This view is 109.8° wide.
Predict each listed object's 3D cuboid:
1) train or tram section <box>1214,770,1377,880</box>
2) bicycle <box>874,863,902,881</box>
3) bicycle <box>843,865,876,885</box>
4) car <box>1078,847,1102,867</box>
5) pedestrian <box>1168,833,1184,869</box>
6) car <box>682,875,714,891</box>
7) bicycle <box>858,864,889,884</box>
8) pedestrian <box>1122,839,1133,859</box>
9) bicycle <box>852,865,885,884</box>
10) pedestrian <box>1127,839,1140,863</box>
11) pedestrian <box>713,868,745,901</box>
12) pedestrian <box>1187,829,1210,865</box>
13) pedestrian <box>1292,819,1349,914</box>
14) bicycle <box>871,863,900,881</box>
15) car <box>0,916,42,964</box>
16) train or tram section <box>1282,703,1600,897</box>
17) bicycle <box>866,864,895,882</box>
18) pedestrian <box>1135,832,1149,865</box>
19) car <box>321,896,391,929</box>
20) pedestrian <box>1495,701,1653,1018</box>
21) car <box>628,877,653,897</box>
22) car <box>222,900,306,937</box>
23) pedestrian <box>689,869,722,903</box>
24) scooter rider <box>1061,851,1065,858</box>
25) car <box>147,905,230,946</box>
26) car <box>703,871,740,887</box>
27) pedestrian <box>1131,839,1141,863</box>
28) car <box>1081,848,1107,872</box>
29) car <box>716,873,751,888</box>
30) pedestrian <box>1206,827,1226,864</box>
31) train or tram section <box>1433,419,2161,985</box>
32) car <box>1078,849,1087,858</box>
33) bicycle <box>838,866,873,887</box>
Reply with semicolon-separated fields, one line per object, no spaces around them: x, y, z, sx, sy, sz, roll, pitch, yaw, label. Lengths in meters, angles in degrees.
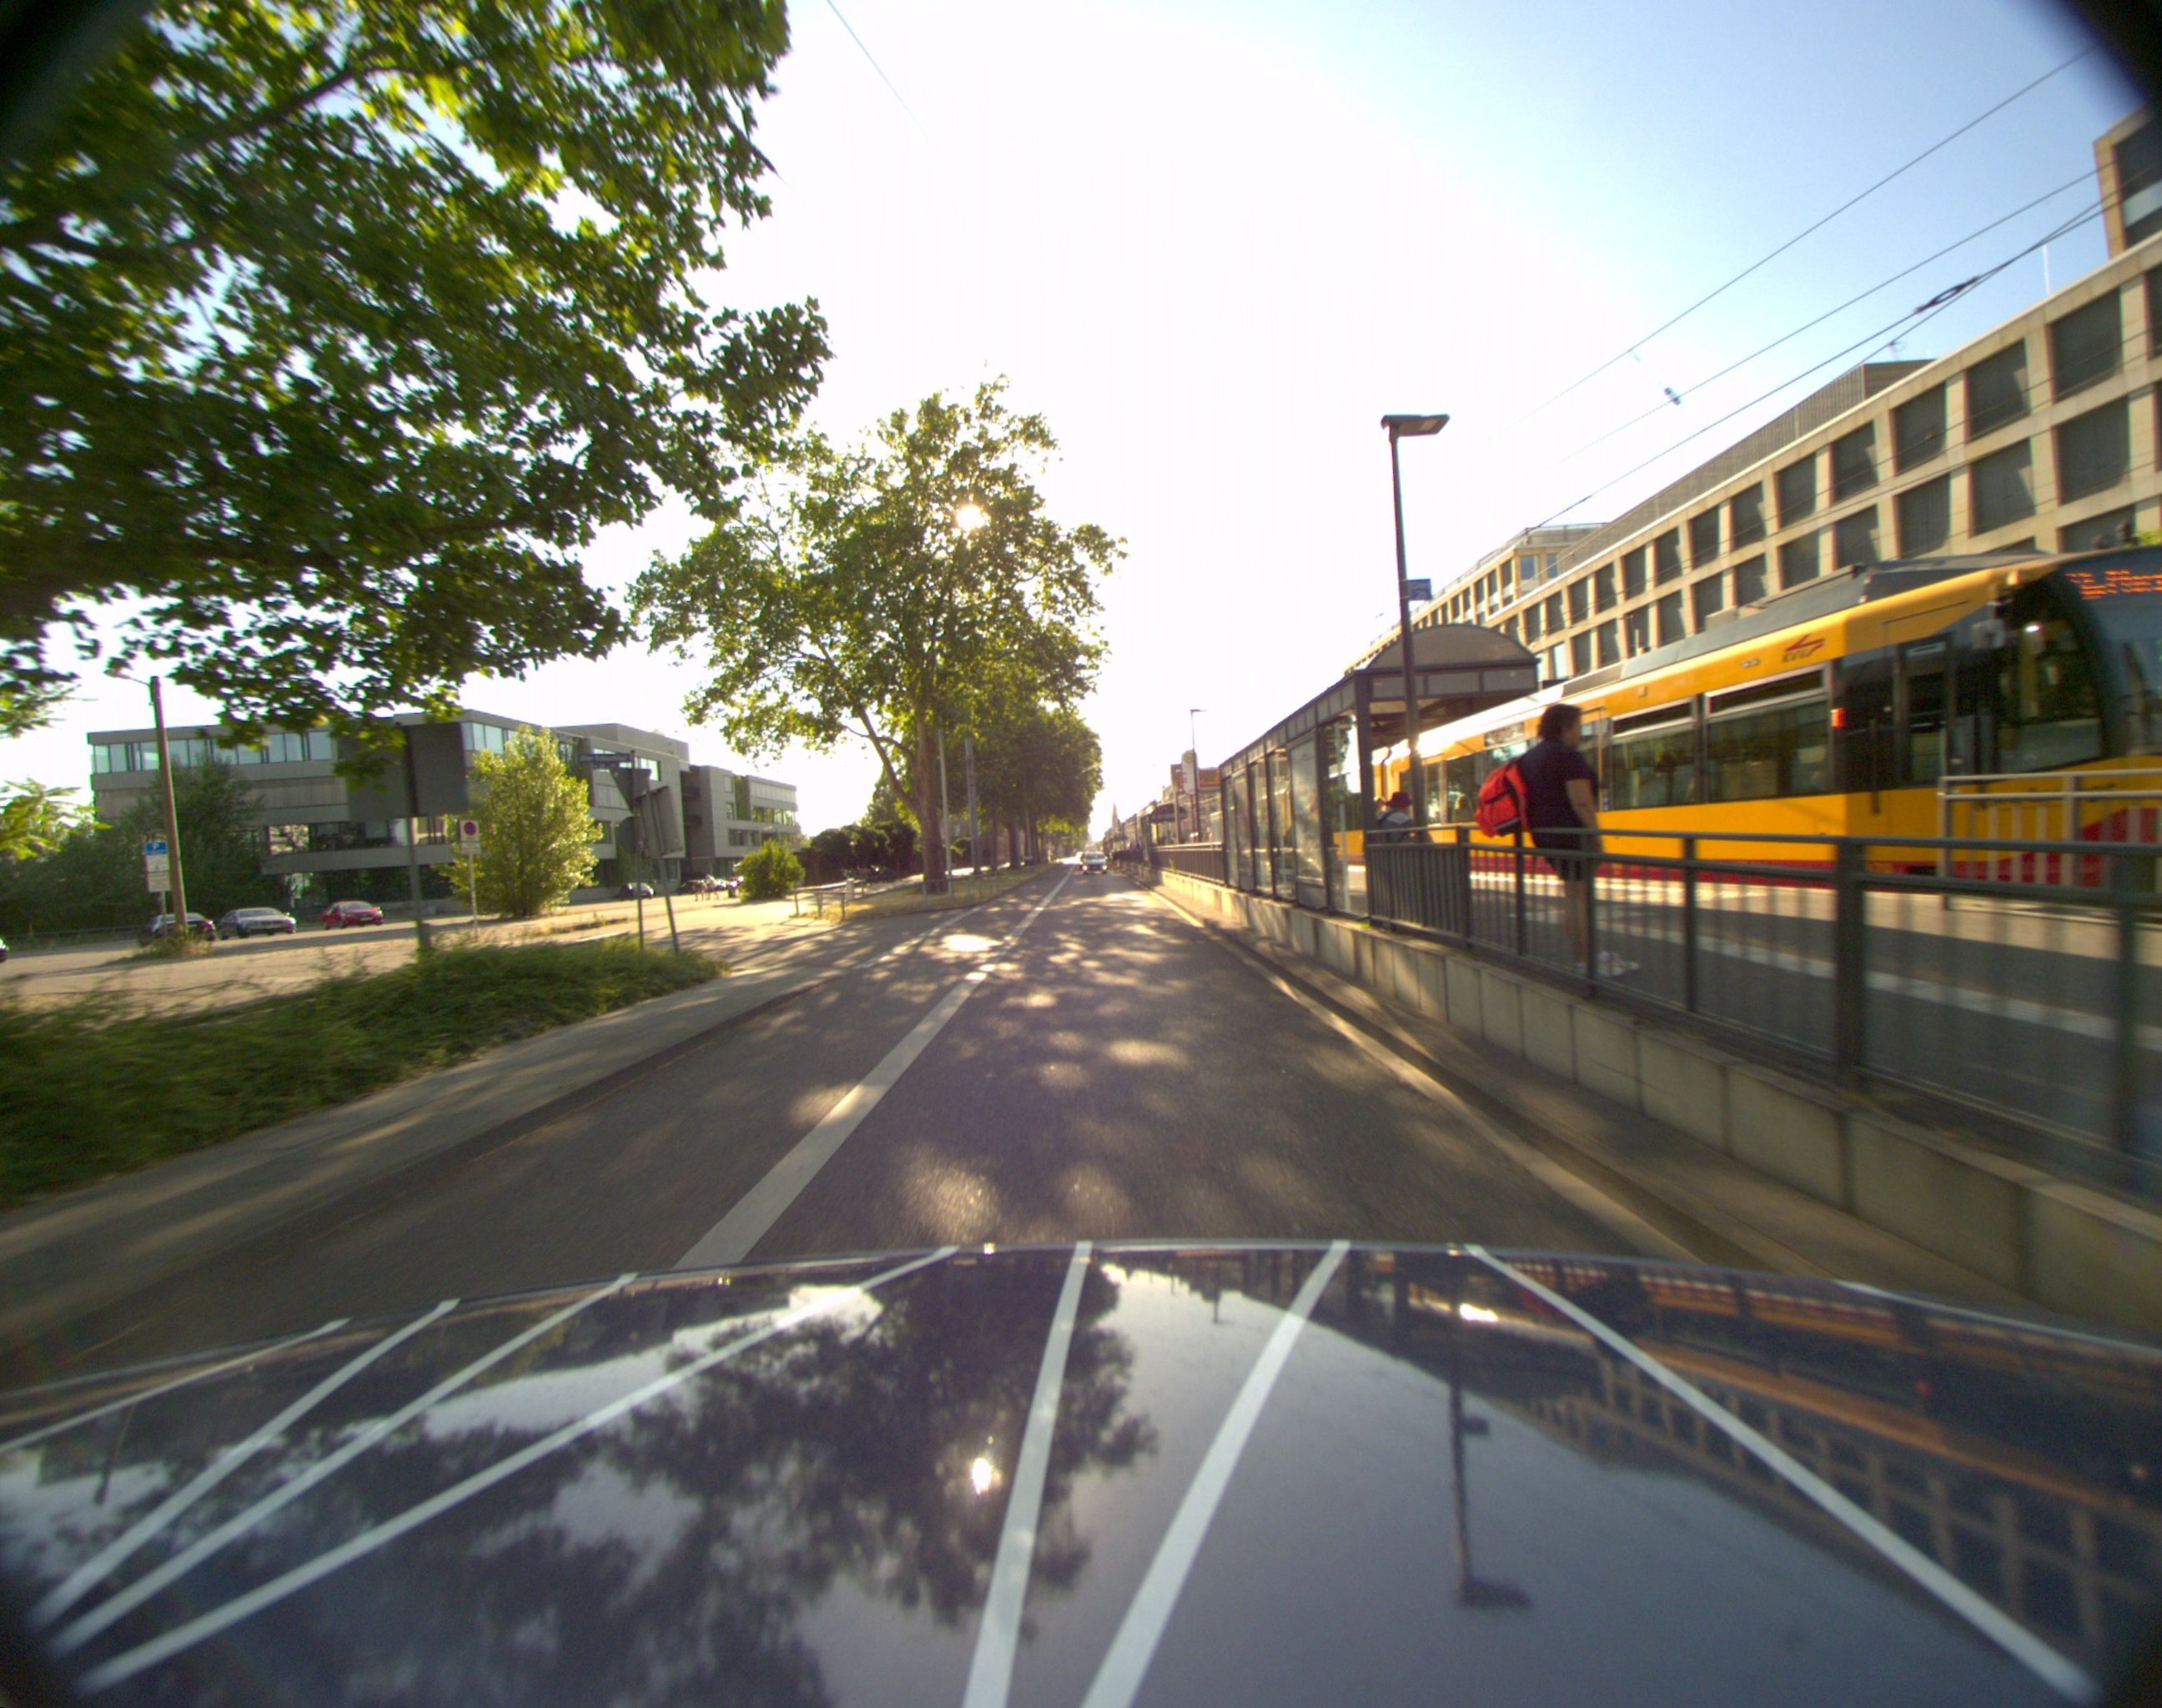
9.092;-1.139;34.936;3.317;3.807;14.217;-4;1;0;train or tram section
-13.078;1.219;51.548;1.692;1.114;0.439;-2;1;0;bicycle
-13.187;1.268;45.326;1.777;1.114;0.439;-2;1;0;bicycle
0.799;0.268;66.767;1.648;1.555;3.667;-5;1;6;car
4.787;-0.142;38.448;0.611;1.774;0.681;-4;1;1;pedestrian
-41.161;3.158;81.586;3.656;1.512;1.653;-3;1;39;car
-12.935;1.251;47.457;1.777;1.114;0.439;-2;1;0;bicycle
3.672;-0.383;59.936;0.615;1.540;0.725;-4;1;11;pedestrian
-12.952;1.254;46.325;1.777;1.114;0.439;-2;1;0;bicycle
3.676;-0.206;53.124;0.614;1.633;0.612;-4;1;-19;pedestrian
-23.081;1.961;49.777;1.394;2.002;1.049;-4;1;13;pedestrian
5.930;-0.345;38.280;0.796;1.774;0.647;-5;1;-39;pedestrian
3.430;0.174;10.915;0.568;1.285;0.500;-4;1;0;pedestrian
-12.991;1.225;50.540;1.777;1.114;0.439;-2;1;0;bicycle
-40.634;3.241;27.253;4.361;1.602;1.860;-4;1;5;car
9.044;-1.168;21.707;3.317;3.807;11.842;-4;1;0;train or tram section
-13.081;1.227;49.591;1.777;1.114;0.439;-2;1;0;bicycle
3.333;-0.305;41.683;0.613;1.774;0.613;-4;1;1;pedestrian
-41.336;3.324;43.305;4.355;1.602;1.886;-3;1;34;car
2.878;0.031;4.488;0.413;1.707;0.665;-4;1;0;pedestrian
-40.650;3.017;70.117;1.652;1.655;3.657;-4;1;-34;car
-41.256;3.262;38.353;4.355;1.580;2.003;-3;1;32;car
-24.172;2.060;48.949;1.394;2.002;1.049;-4;1;13;pedestrian
-3.841;0.067;160.637;0.703;1.389;0.599;-4;1;0;scooter rider
-41.341;3.277;35.169;4.355;1.602;1.862;-3;1;33;car
-42.122;2.959;89.105;3.708;1.555;1.652;-4;1;20;car
3.917;-0.218;54.160;0.613;1.659;0.613;-4;1;2;pedestrian
0.880;0.390;53.468;1.649;1.555;3.665;-4;1;0;car
-41.965;3.195;91.811;3.659;1.555;1.652;-4;1;19;car
6.828;-0.432;38.349;0.795;1.774;0.625;-4;1;1;pedestrian
8.997;-1.151;9.727;3.317;3.807;11.842;-4;1;0;train or tram section
0.289;-0.132;166.690;1.833;1.645;3.999;-5;1;0;car
-12.774;1.270;43.074;1.778;1.114;0.439;-3;1;-7;bicycle
